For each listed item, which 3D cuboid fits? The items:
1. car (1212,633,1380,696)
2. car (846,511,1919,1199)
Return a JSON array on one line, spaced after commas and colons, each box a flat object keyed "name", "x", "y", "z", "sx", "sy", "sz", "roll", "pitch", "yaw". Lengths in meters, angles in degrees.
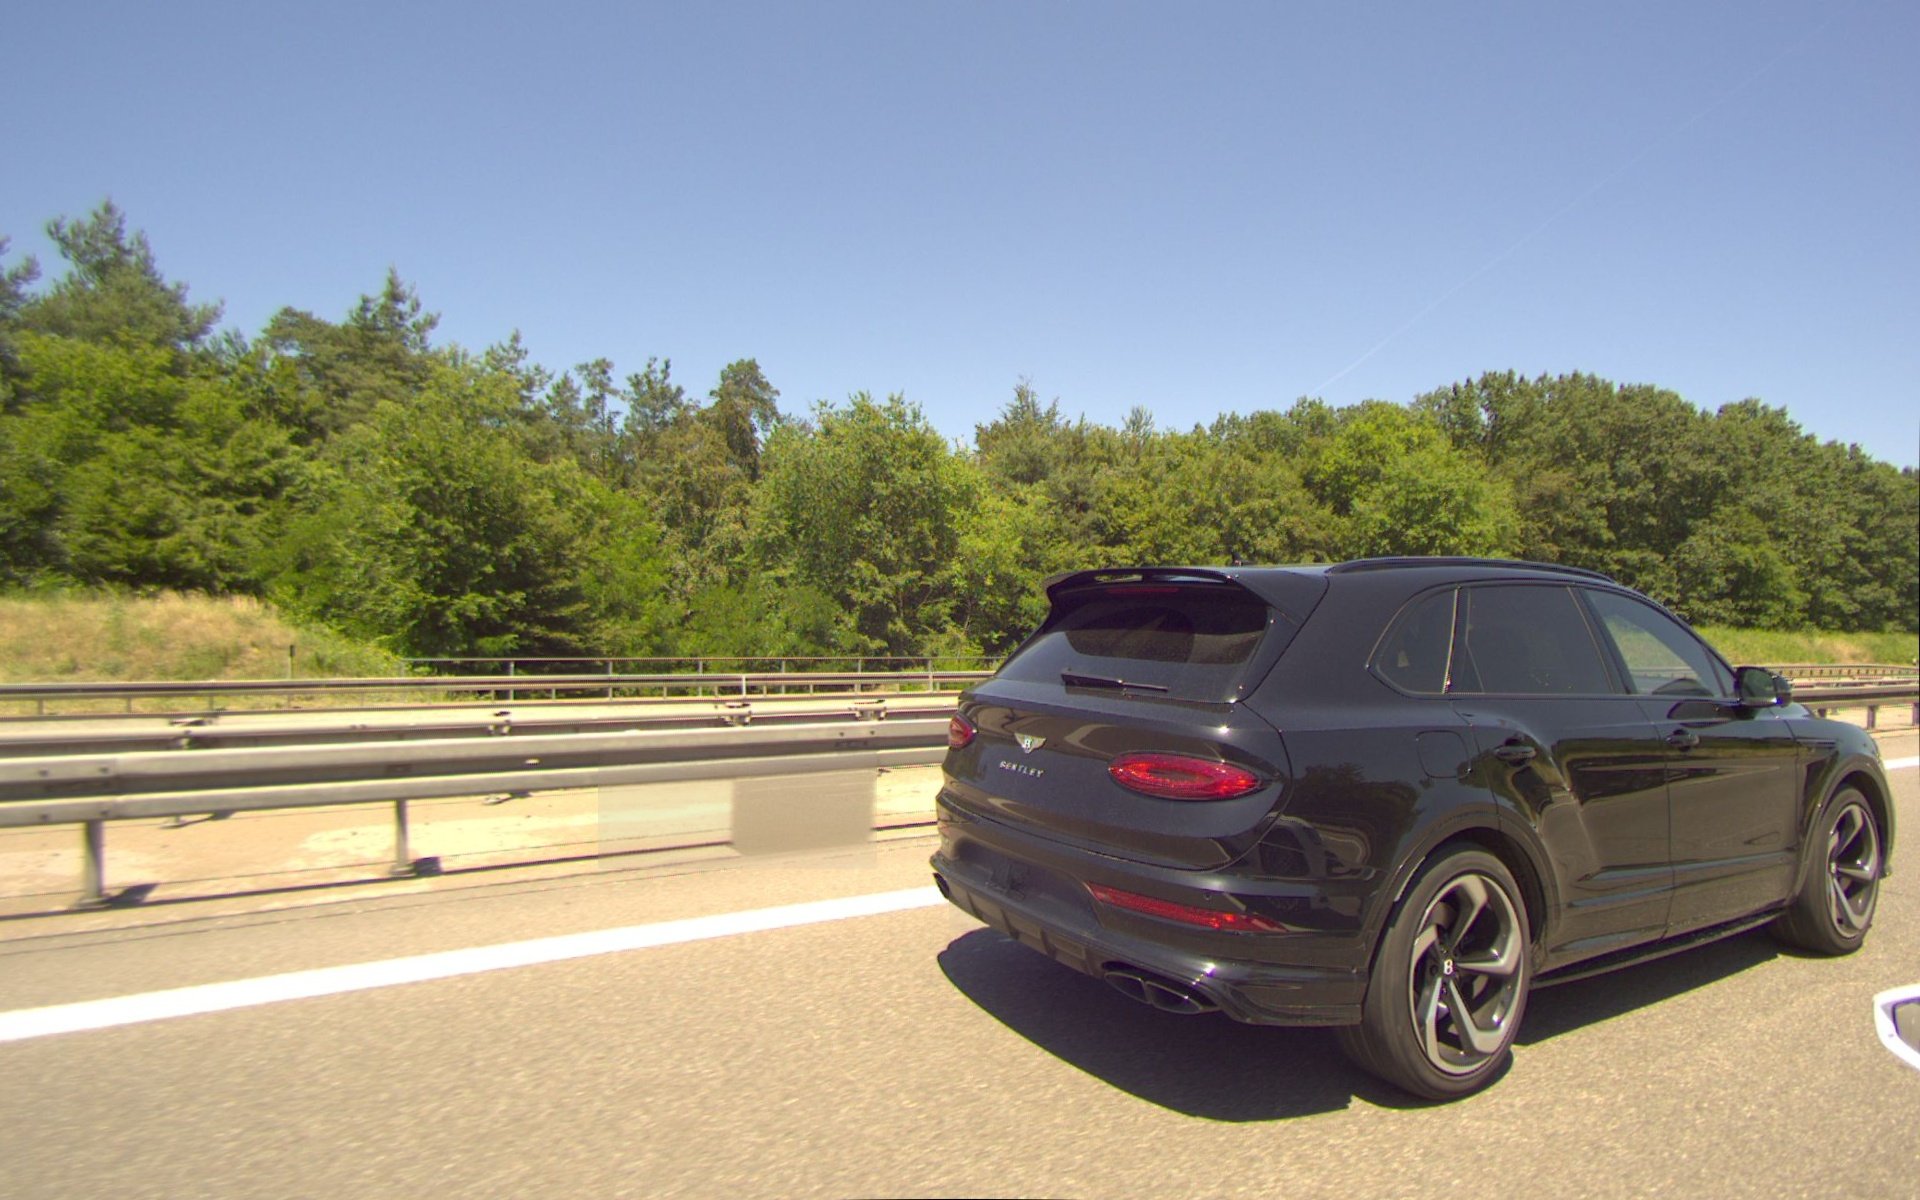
[{"name": "car", "x": 9.793, "y": 1.859, "z": 29.130, "sx": 5.057, "sy": 1.682, "sz": 1.694, "roll": 1, "pitch": -5, "yaw": -31}, {"name": "car", "x": 2.487, "y": 0.733, "z": 4.695, "sx": 5.746, "sy": 1.775, "sz": 1.931, "roll": 1, "pitch": -1, "yaw": -31}]
